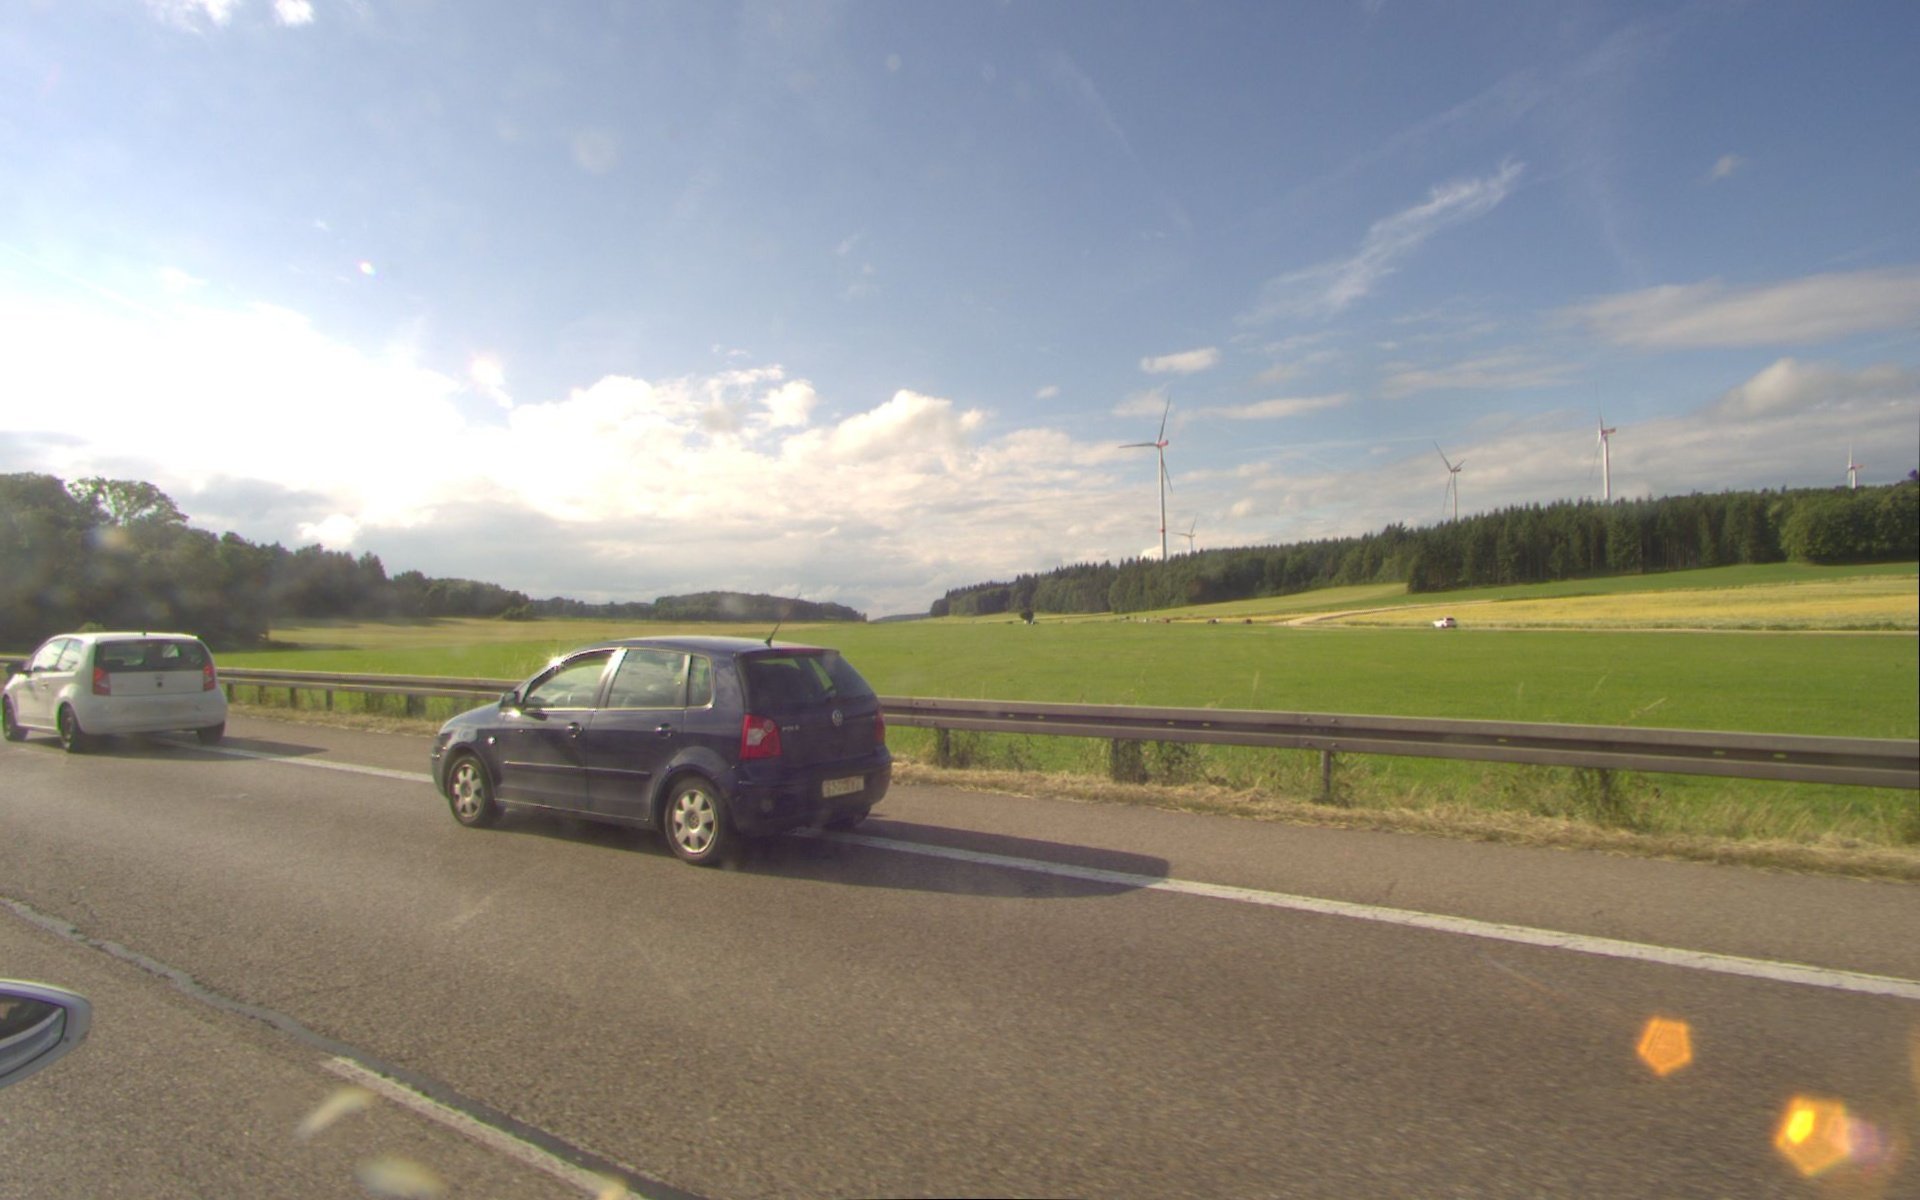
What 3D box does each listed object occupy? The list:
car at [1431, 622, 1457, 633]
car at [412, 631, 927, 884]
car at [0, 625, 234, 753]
[{"bbox_3d":[72.701,4.155,150.388,1.961,1.638,4.002,0,-2,0],"label":"car"},{"bbox_3d":[-2.258,0.984,7.544,3.721,1.464,1.707,-2,-2,32],"label":"car"},{"bbox_3d":[-11.474,1.108,13.531,3.329,1.514,1.546,-1,-1,32],"label":"car"}]
